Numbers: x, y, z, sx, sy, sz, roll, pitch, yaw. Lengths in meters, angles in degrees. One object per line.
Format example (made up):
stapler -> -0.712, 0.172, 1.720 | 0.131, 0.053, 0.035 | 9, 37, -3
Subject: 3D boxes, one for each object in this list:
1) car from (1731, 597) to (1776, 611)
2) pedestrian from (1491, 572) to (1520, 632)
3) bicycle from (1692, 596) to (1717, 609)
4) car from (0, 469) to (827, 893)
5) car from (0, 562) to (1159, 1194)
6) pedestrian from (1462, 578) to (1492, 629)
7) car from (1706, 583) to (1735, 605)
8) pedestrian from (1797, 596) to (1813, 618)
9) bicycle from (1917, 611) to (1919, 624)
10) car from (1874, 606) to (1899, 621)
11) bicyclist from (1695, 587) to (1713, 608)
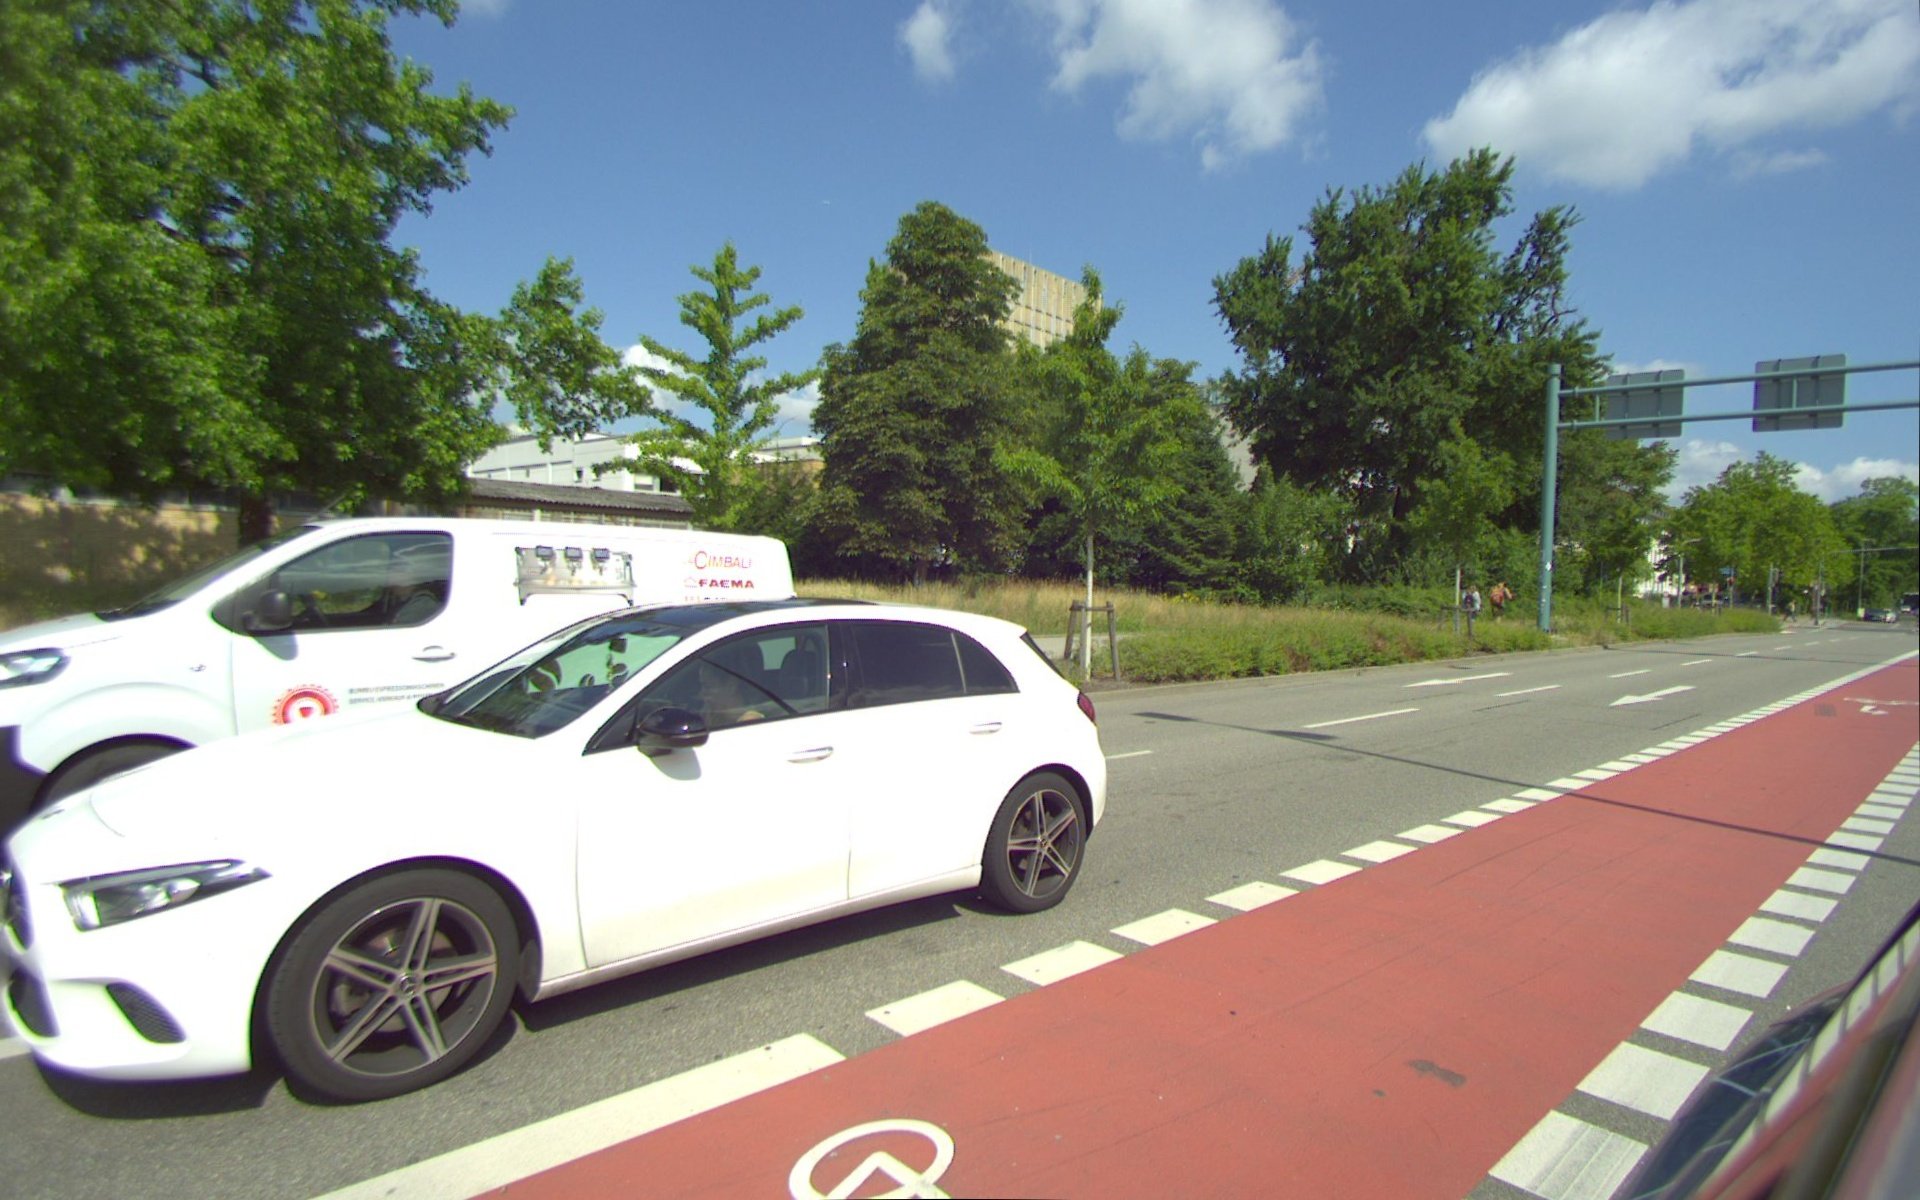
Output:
car -> 91.944, 0.431, 117.304 | 3.978, 1.442, 1.734 | 3, 2, 37
pedestrian -> 17.073, 0.056, 31.686 | 0.628, 1.824, 0.568 | 1, 1, -42
bicycle -> 55.087, 0.179, 74.908 | 0.608, 0.843, 1.516 | 2, 1, -3
car -> -3.407, 0.343, 6.584 | 4.741, 1.893, 1.946 | 1, 2, -42
car -> -1.237, 0.634, 4.463 | 4.308, 1.441, 1.907 | 1, 2, -41
pedestrian -> 16.461, 0.111, 32.219 | 0.696, 1.600, 0.624 | 1, 1, -42
car -> 75.736, -0.568, 100.779 | 1.992, 2.038, 4.830 | 3, 1, 41
pedestrian -> 65.270, 0.540, 78.190 | 0.627, 1.670, 0.743 | 1, 1, -34
bicycle -> 60.246, 1.119, 62.402 | 1.745, 0.785, 0.439 | 2, 1, 35
car -> 93.986, 1.378, 102.642 | 1.704, 1.345, 3.940 | 6, 4, 41
bicyclist -> 55.098, -0.165, 74.952 | 0.600, 1.526, 0.920 | 2, 1, -3
